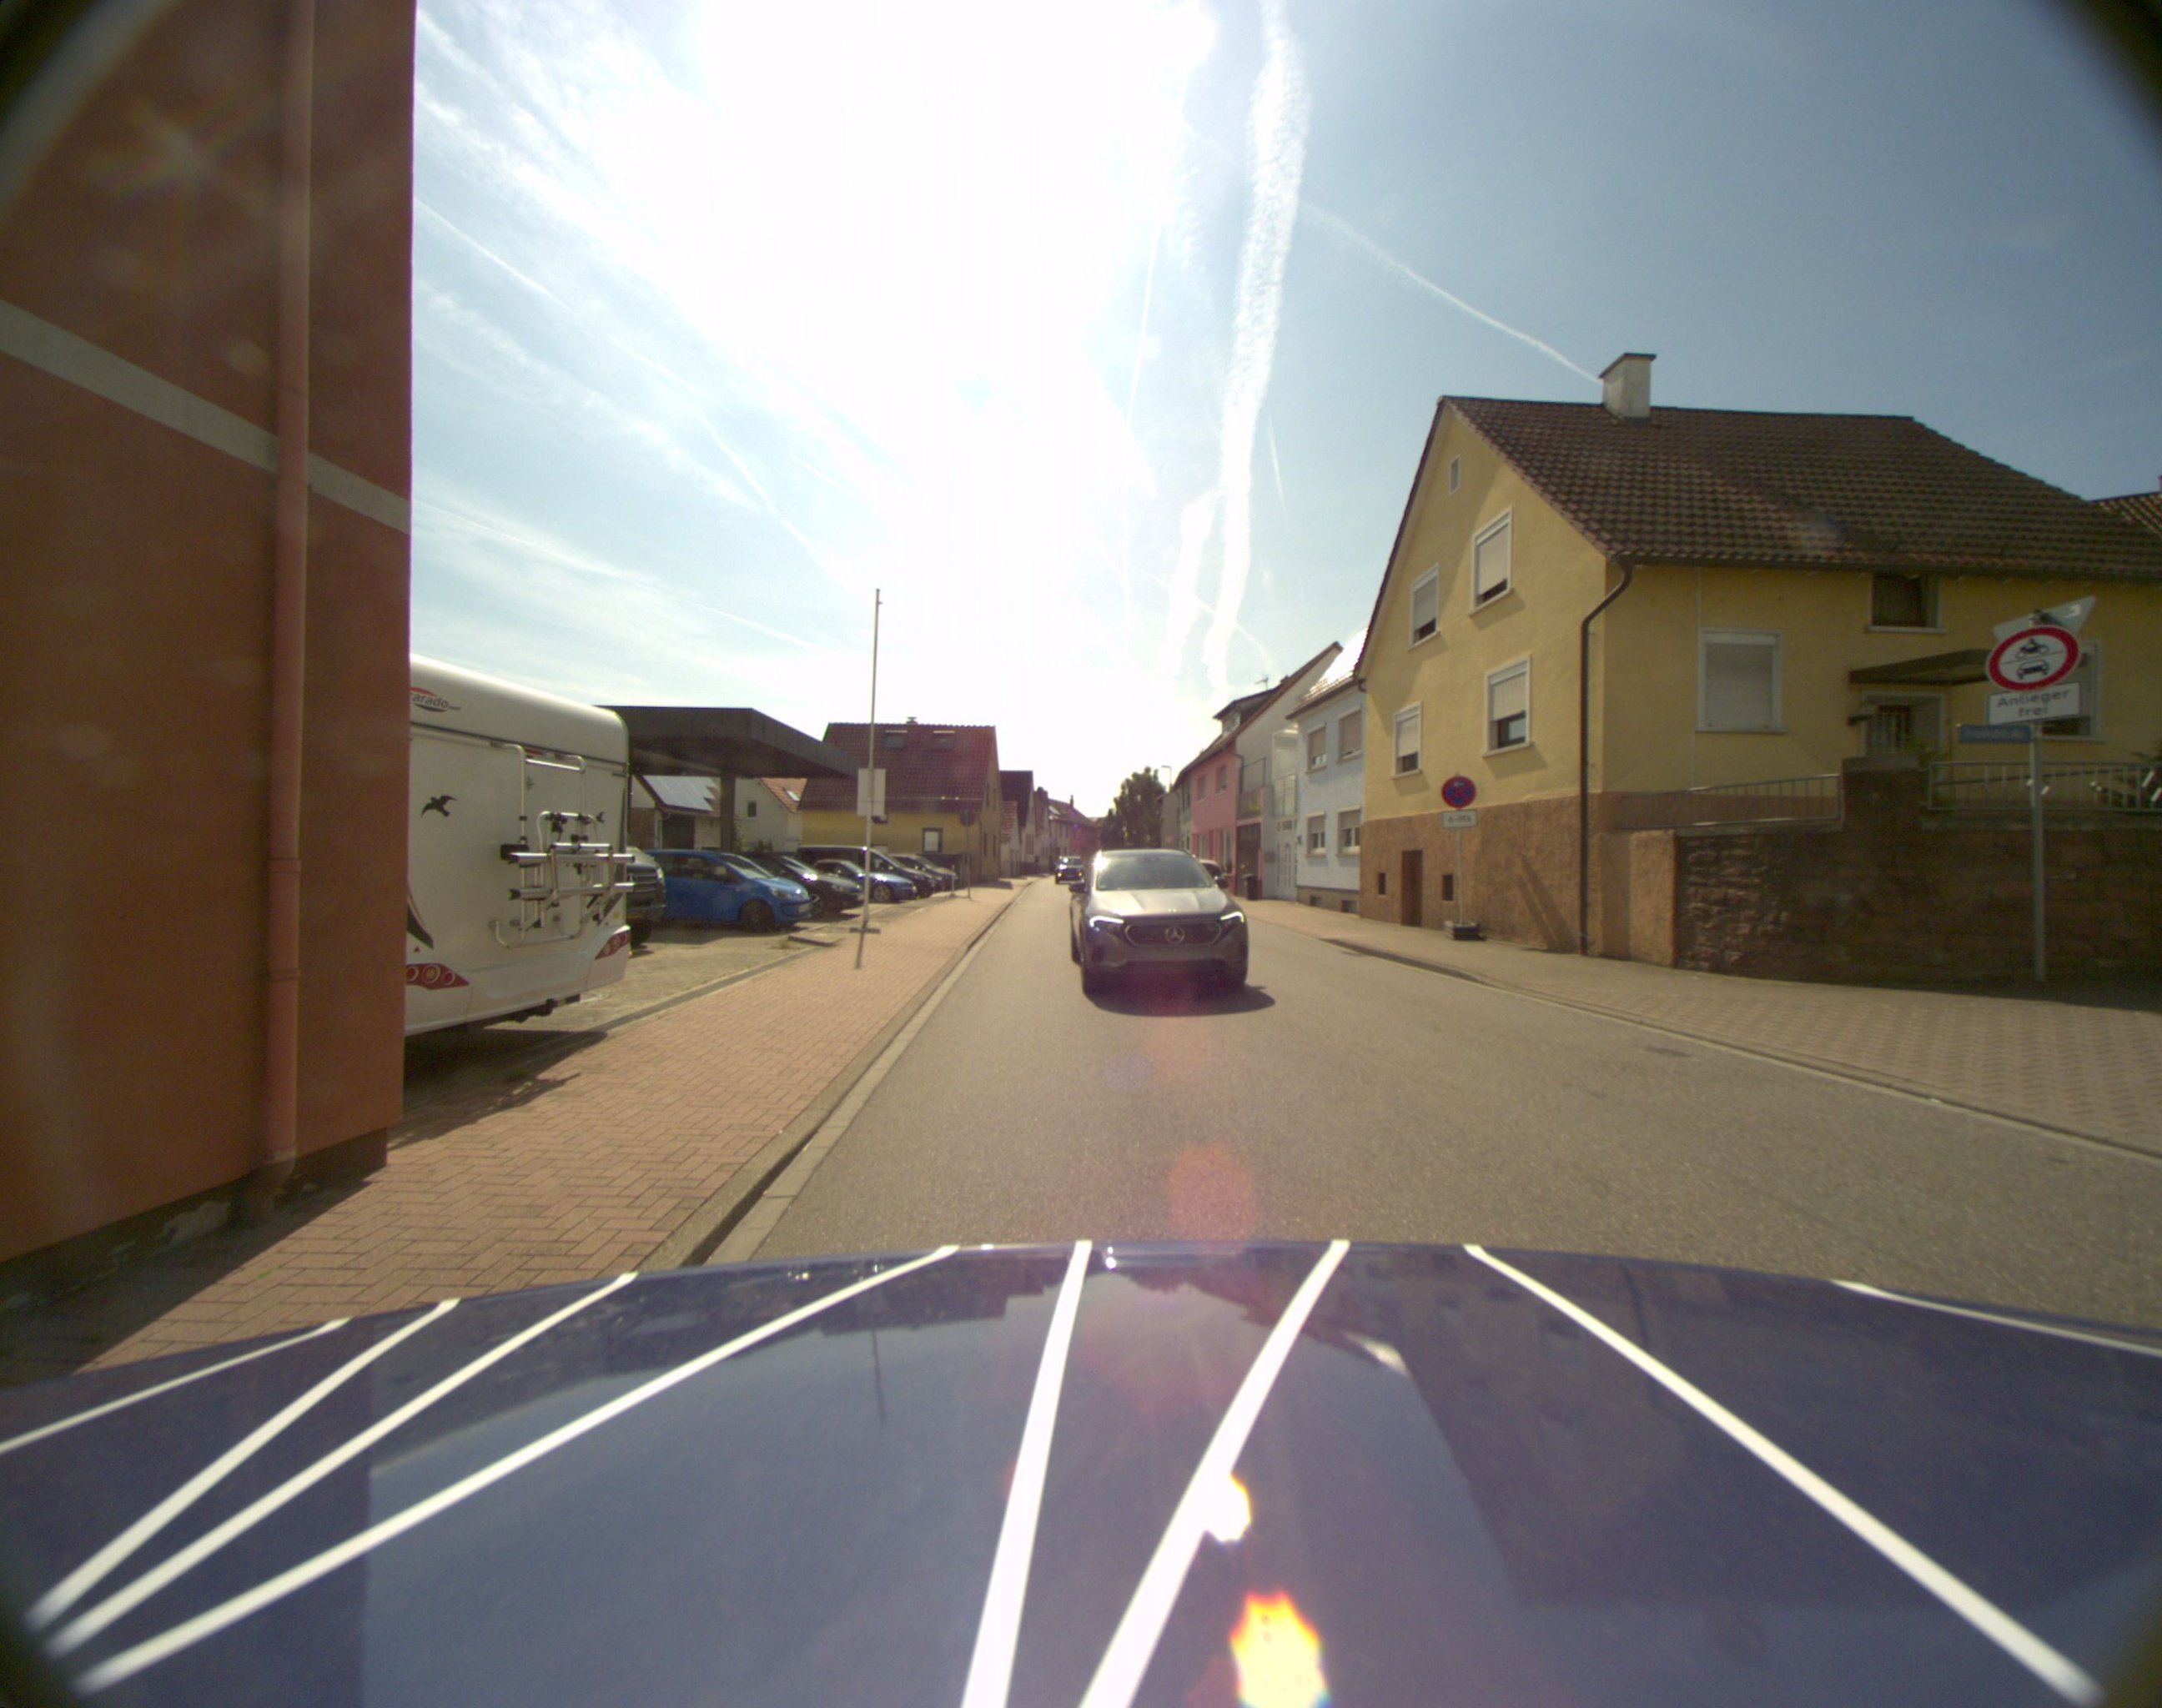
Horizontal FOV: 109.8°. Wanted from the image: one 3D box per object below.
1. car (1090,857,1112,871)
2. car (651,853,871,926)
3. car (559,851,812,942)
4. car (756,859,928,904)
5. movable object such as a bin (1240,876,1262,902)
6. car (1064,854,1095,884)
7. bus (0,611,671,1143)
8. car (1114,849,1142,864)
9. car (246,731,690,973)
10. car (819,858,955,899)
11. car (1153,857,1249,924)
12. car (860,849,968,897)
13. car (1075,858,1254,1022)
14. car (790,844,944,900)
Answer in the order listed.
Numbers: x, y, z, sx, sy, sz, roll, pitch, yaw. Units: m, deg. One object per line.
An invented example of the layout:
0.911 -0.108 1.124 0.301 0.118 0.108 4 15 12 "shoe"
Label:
2.253 1.061 85.244 1.516 1.401 3.594 -2 1 16 "car"
-7.037 0.748 16.995 4.170 1.472 1.728 1 0 2 "car"
-7.139 0.740 13.965 3.809 1.519 1.582 1 0 0 "car"
-7.166 0.810 23.102 4.549 1.260 1.966 1 0 2 "car"
6.102 1.236 27.275 0.631 0.875 0.599 -2 1 -1 "movable object such as a bin"
-0.127 0.844 46.353 1.792 1.643 4.392 0 1 -1 "car"
-6.816 0.050 5.410 6.581 2.889 2.229 2 1 2 "bus"
6.268 0.337 101.539 1.944 1.841 4.517 -1 1 28 "car"
-9.149 -0.059 11.389 5.965 2.969 2.321 1 0 19 "car"
-7.263 0.886 28.760 4.646 1.489 1.911 0 0 2 "car"
2.969 0.864 19.551 1.734 1.533 3.811 1 0 -2 "car"
-7.572 0.863 34.616 4.337 1.736 1.737 -5 2 6 "car"
0.814 0.865 9.689 1.738 1.564 4.290 -1 0 -1 "car"
-7.181 0.568 25.795 4.646 1.799 1.965 0 1 2 "car"
